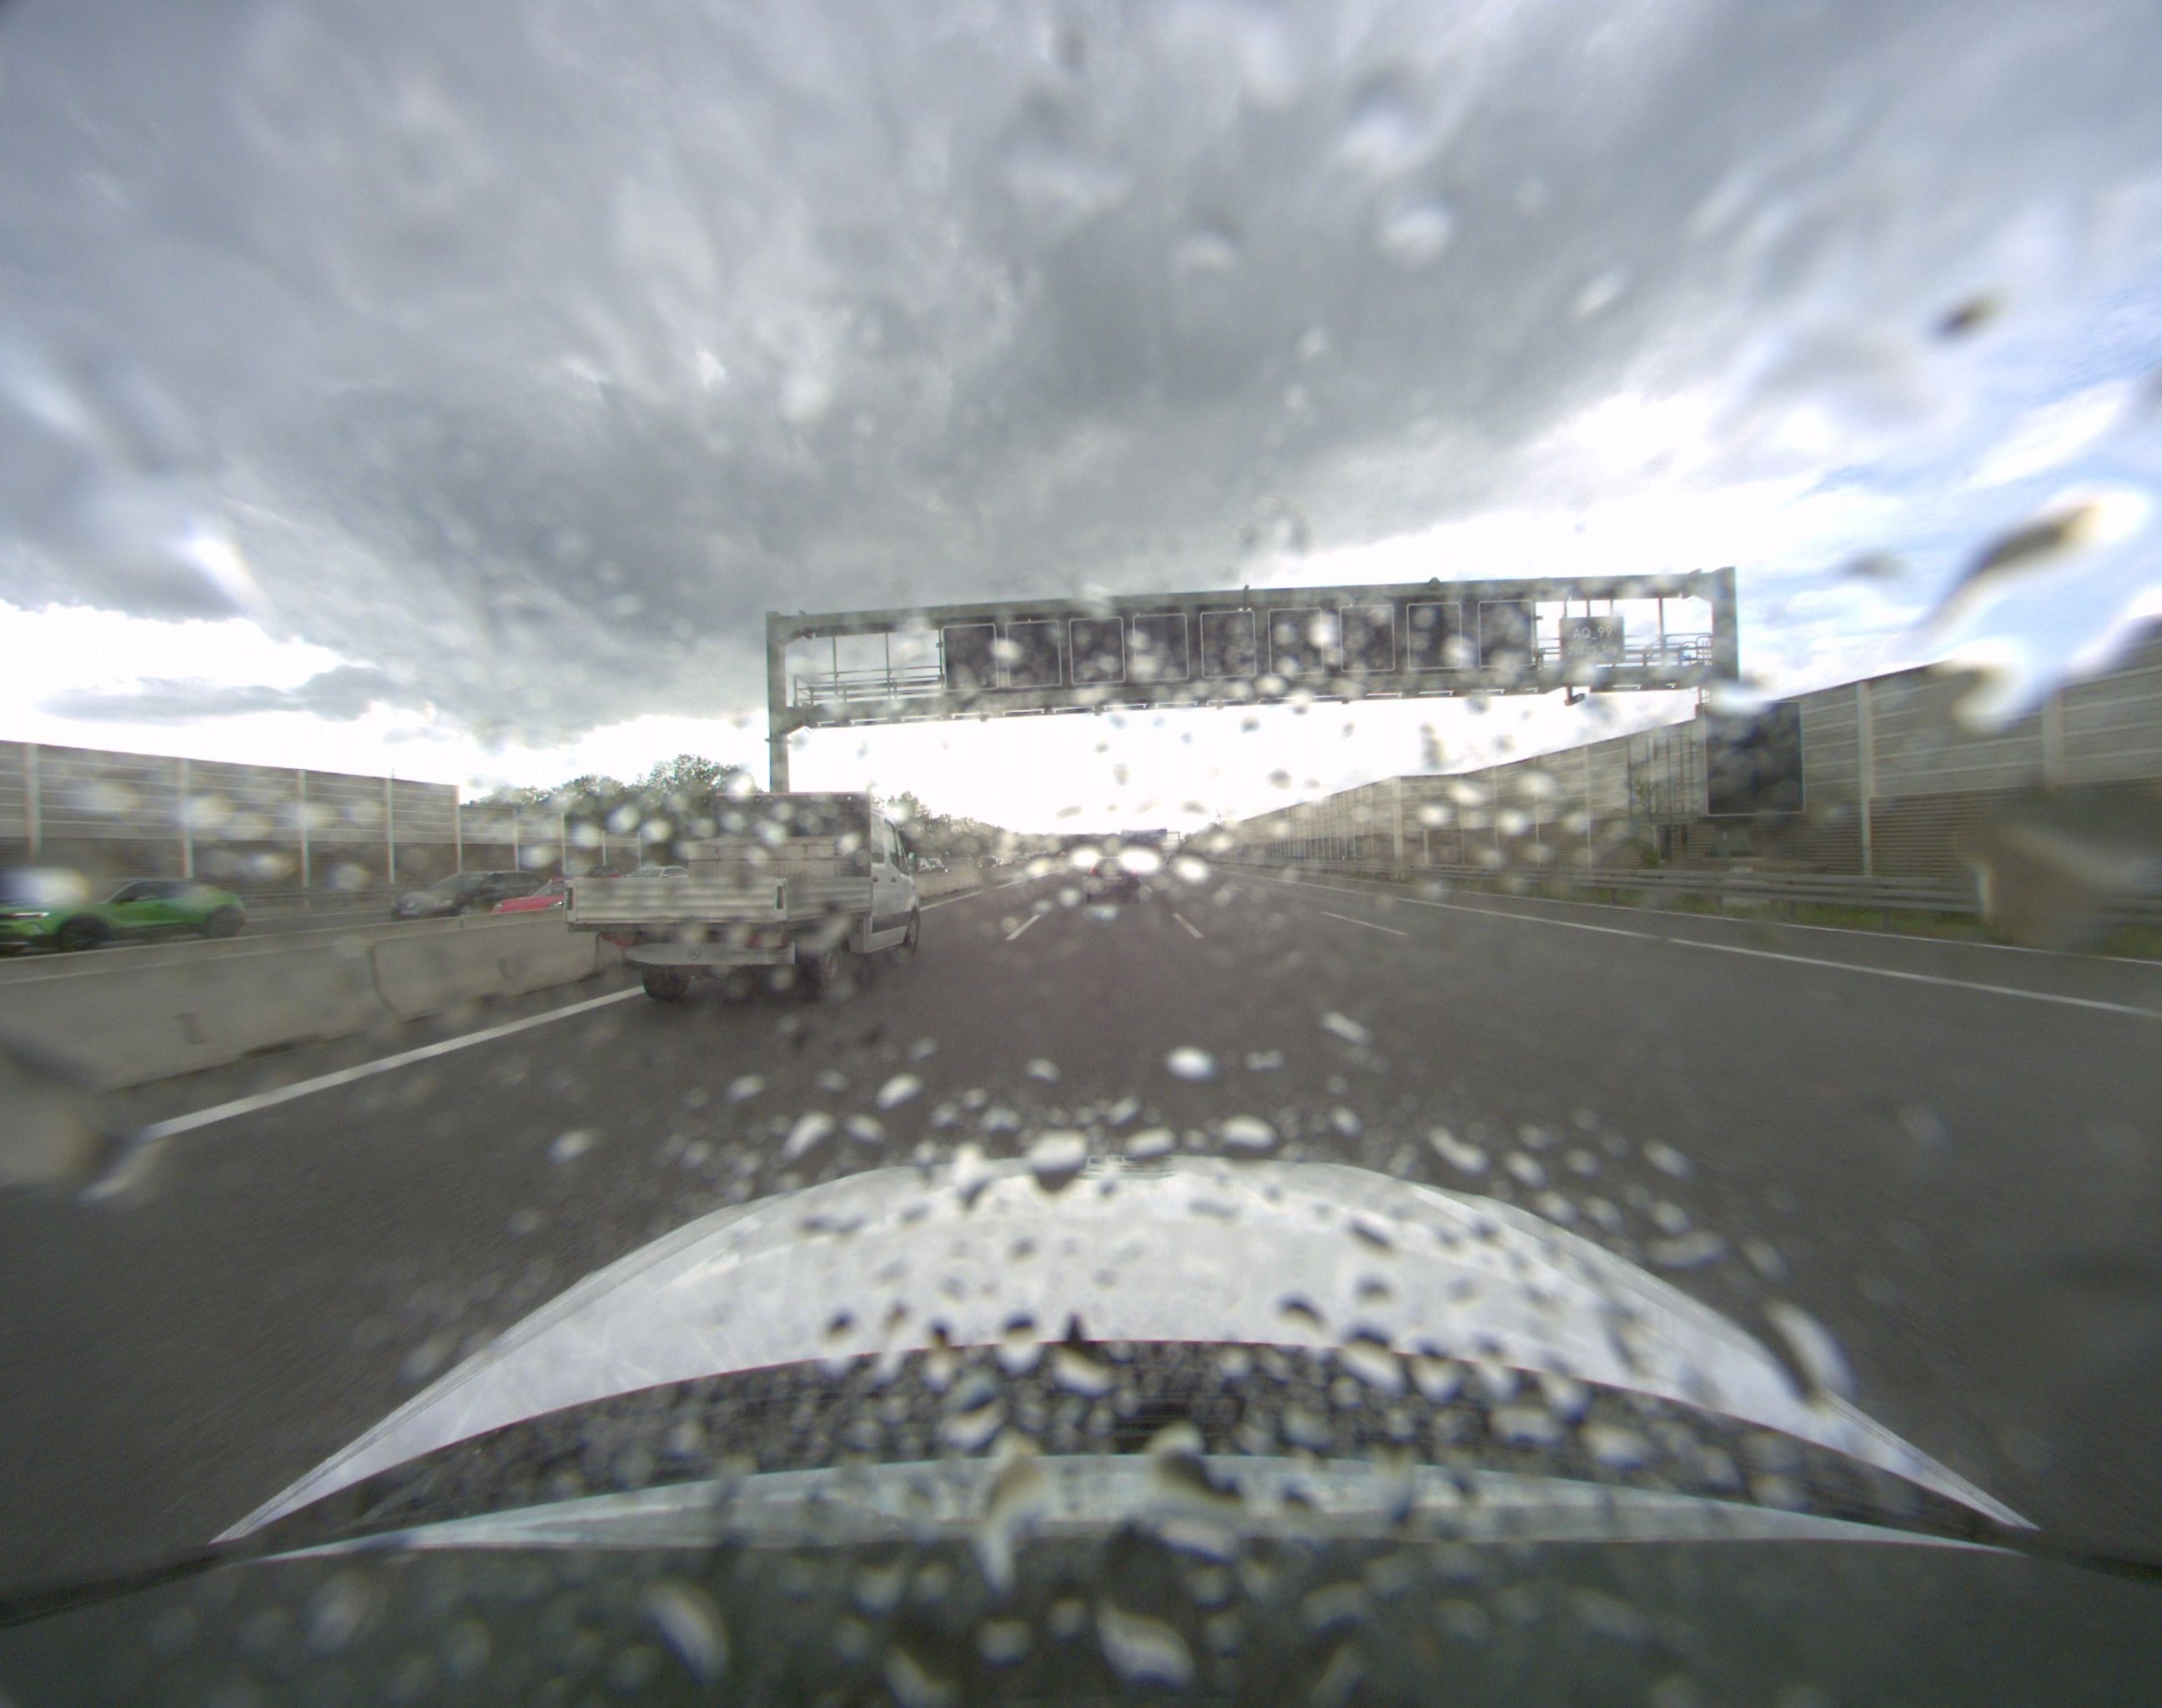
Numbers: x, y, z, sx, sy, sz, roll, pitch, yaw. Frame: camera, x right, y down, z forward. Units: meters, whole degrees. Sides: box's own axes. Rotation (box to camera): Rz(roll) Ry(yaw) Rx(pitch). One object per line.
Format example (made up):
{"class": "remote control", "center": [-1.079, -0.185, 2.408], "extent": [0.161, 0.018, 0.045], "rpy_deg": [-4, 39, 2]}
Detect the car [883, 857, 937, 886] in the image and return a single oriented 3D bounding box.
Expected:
{"class": "car", "center": [-11.836, 1.175, 56.856], "extent": [2.052, 1.880, 6.333], "rpy_deg": [-1, 0, 3]}

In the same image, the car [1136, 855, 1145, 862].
{"class": "car", "center": [14.635, 1.052, 201.184], "extent": [1.960, 1.561, 4.436], "rpy_deg": [-2, -1, 3]}

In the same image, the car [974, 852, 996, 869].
{"class": "car", "center": [-13.150, 0.865, 111.955], "extent": [2.052, 2.236, 5.899], "rpy_deg": [-1, 0, 3]}

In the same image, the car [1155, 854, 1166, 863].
{"class": "car", "center": [15.573, 0.886, 158.895], "extent": [1.875, 1.561, 4.436], "rpy_deg": [-2, -1, 3]}

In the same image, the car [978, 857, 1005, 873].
{"class": "car", "center": [-9.787, 1.182, 89.337], "extent": [2.052, 1.645, 5.384], "rpy_deg": [-1, 0, 3]}

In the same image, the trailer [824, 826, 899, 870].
{"class": "trailer", "center": [-21.969, -0.566, 82.610], "extent": [2.919, 4.031, 14.464], "rpy_deg": [-1, 0, 3]}

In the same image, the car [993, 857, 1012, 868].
{"class": "car", "center": [-11.863, 1.238, 123.325], "extent": [2.052, 1.535, 4.522], "rpy_deg": [-1, 0, 3]}

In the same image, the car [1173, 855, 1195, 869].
{"class": "car", "center": [10.531, 0.801, 83.445], "extent": [1.941, 1.418, 4.236], "rpy_deg": [-1, -1, 4]}

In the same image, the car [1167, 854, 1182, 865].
{"class": "car", "center": [13.743, 0.837, 119.615], "extent": [1.874, 1.542, 4.437], "rpy_deg": [-2, -1, 4]}

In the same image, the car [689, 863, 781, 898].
{"class": "car", "center": [-16.691, 1.241, 39.613], "extent": [2.052, 1.491, 5.001], "rpy_deg": [-1, 0, 3]}

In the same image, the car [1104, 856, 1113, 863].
{"class": "car", "center": [6.219, 1.355, 186.232], "extent": [1.960, 1.561, 4.436], "rpy_deg": [-2, -1, 3]}

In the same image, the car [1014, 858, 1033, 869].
{"class": "car", "center": [-8.503, 1.338, 120.343], "extent": [2.052, 1.535, 5.474], "rpy_deg": [-1, 0, 3]}

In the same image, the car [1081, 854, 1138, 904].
{"class": "car", "center": [0.912, 0.762, 26.767], "extent": [1.711, 1.417, 4.279], "rpy_deg": [-1, 0, 1]}

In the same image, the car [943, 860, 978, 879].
{"class": "car", "center": [-10.810, 1.355, 73.617], "extent": [2.052, 1.535, 5.474], "rpy_deg": [-1, 0, 3]}

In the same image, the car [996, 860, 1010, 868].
{"class": "car", "center": [-14.210, 1.782, 149.161], "extent": [1.715, 1.464, 4.525], "rpy_deg": [0, -1, 5]}

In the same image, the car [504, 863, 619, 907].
{"class": "car", "center": [-24.517, 1.424, 38.703], "extent": [2.052, 1.880, 5.001], "rpy_deg": [-1, 0, 3]}

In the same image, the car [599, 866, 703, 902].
{"class": "car", "center": [-20.173, 1.365, 38.509], "extent": [2.052, 1.491, 5.001], "rpy_deg": [-1, 0, 3]}

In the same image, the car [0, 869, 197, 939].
{"class": "car", "center": [-24.756, 1.158, 19.281], "extent": [2.052, 1.491, 5.001], "rpy_deg": [-1, 0, 3]}

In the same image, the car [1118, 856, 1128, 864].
{"class": "car", "center": [8.274, 1.129, 160.962], "extent": [1.960, 1.561, 4.436], "rpy_deg": [-2, -1, 3]}

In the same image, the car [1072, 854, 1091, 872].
{"class": "car", "center": [0.042, 0.886, 82.409], "extent": [1.710, 1.624, 4.281], "rpy_deg": [-1, 0, 2]}

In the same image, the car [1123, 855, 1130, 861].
{"class": "car", "center": [12.584, 1.114, 224.718], "extent": [1.960, 1.561, 4.434], "rpy_deg": [-2, -1, 2]}

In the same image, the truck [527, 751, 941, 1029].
{"class": "truck", "center": [-3.709, 0.297, 10.828], "extent": [2.299, 2.439, 7.149], "rpy_deg": [-1, 0, 1]}

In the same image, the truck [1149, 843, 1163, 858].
{"class": "truck", "center": [18.872, -0.929, 205.552], "extent": [3.139, 3.601, 12.709], "rpy_deg": [0, 0, 3]}

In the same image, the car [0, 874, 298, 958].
{"class": "car", "center": [-20.956, 1.265, 18.112], "extent": [2.052, 1.491, 5.001], "rpy_deg": [-1, 0, 3]}

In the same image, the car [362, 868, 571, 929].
{"class": "car", "center": [-17.421, 1.192, 23.506], "extent": [2.052, 1.491, 5.001], "rpy_deg": [-1, 0, 3]}

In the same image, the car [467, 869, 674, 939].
{"class": "car", "center": [-13.103, 1.210, 21.404], "extent": [2.052, 1.491, 5.001], "rpy_deg": [-1, 0, 3]}
